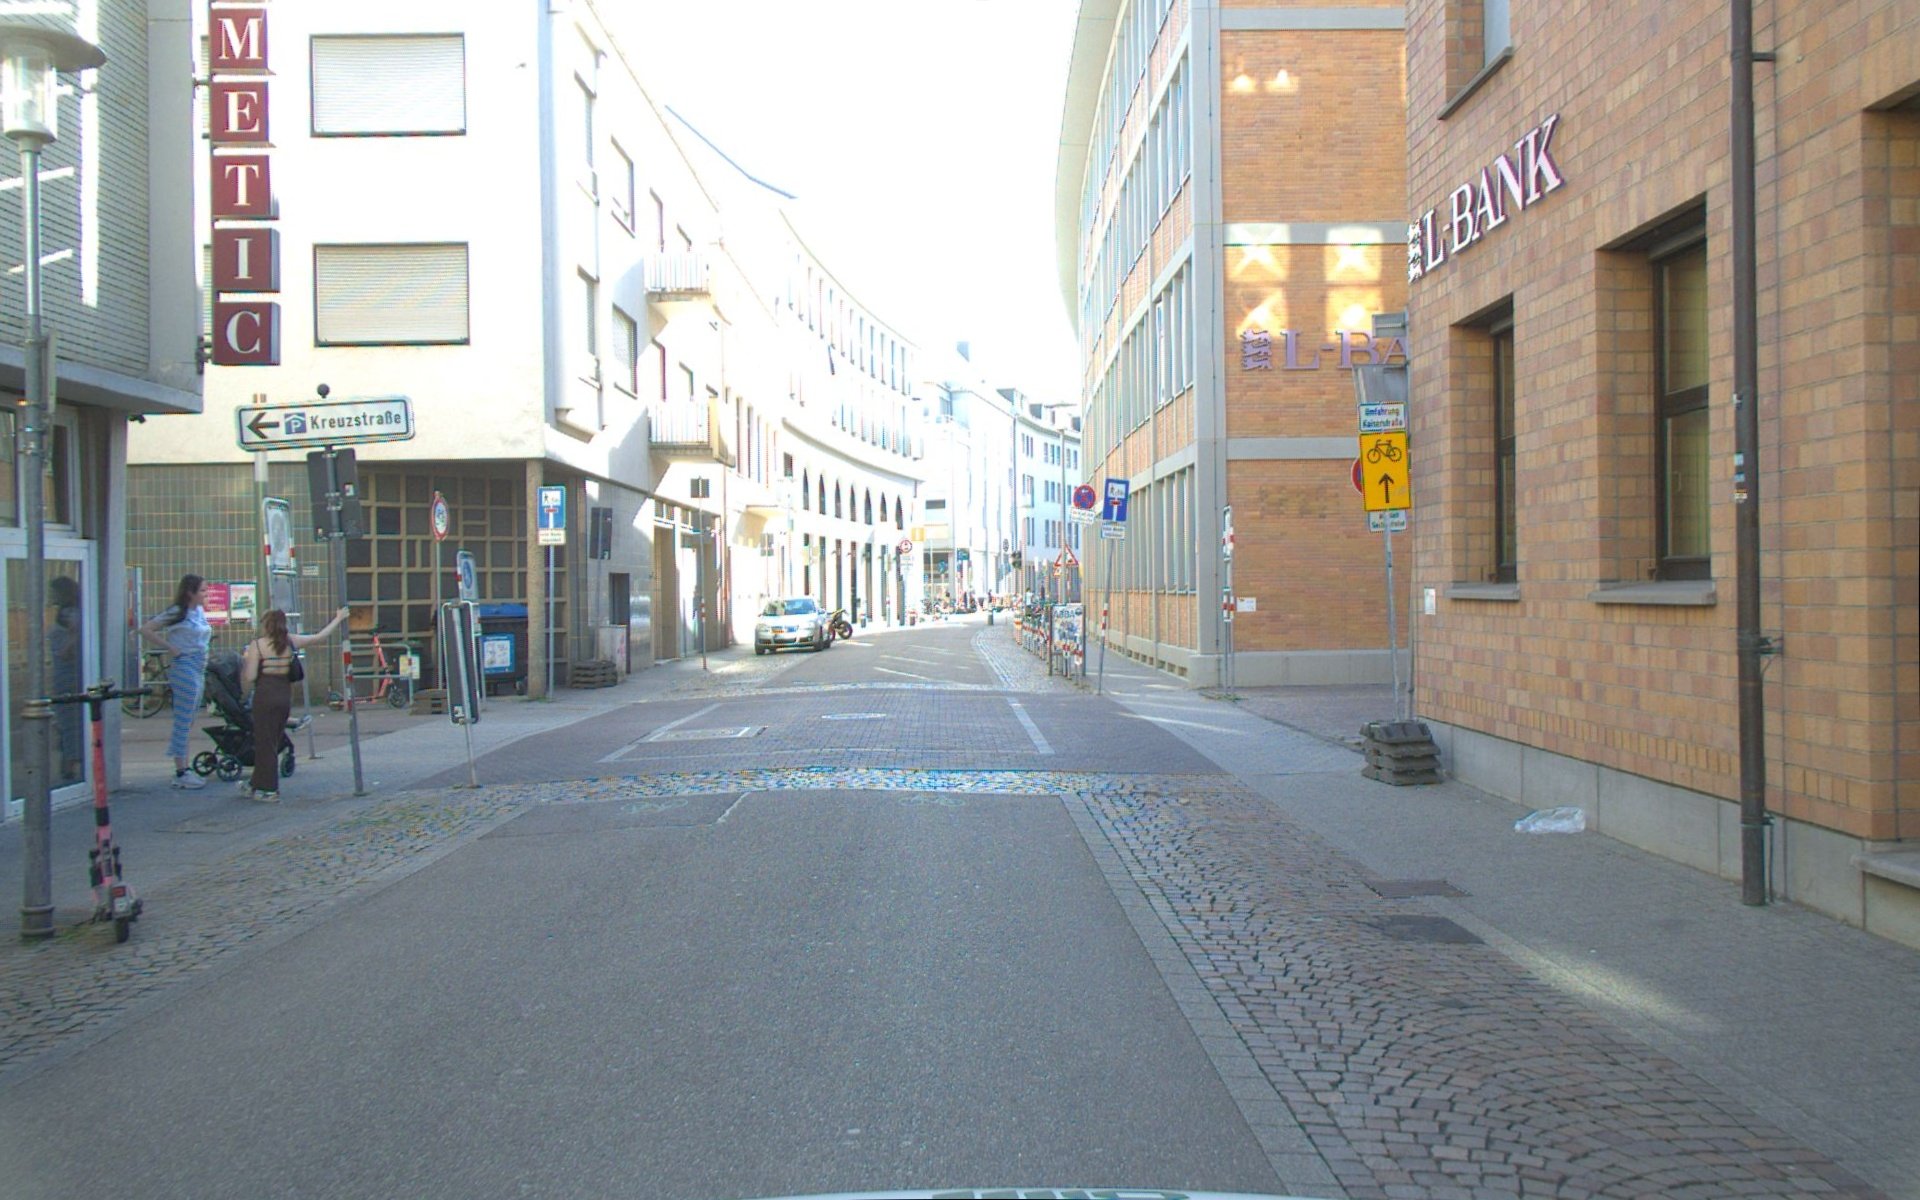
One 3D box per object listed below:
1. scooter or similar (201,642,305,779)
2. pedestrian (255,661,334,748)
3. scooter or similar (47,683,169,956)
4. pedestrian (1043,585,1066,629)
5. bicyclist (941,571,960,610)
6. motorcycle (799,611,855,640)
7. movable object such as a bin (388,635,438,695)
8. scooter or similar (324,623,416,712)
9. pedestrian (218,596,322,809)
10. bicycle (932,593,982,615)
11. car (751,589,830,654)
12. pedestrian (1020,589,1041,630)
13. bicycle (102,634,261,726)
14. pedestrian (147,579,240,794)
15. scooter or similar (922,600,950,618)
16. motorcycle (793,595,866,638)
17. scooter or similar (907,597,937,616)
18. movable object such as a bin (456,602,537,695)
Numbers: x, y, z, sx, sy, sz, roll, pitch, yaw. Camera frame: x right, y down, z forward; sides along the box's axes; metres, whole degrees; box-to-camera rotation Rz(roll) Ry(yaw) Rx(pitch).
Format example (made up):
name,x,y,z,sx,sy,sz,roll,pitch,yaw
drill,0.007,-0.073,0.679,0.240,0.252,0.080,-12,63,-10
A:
name,x,y,z,sx,sy,sz,roll,pitch,yaw
scooter or similar,-6.399,0.983,14.961,0.781,1.182,0.629,1,-1,-31
pedestrian,-6.083,0.942,15.111,0.576,0.727,0.640,-1,0,-31
scooter or similar,-4.285,1.051,8.292,0.408,1.218,1.110,-5,1,-29
pedestrian,4.110,0.319,71.852,0.652,1.901,0.753,1,-1,-31
bicyclist,-0.597,-0.599,104.248,1.067,2.431,0.742,1,-1,13
motorcycle,-4.108,0.780,51.101,1.655,0.874,0.595,1,-1,4
movable object such as a bin,-8.545,1.011,25.840,0.516,0.917,0.534,0,-1,42
scooter or similar,-8.563,0.972,24.020,1.134,1.228,0.480,-2,0,-1
pedestrian,-5.536,0.796,13.276,0.641,1.654,0.450,-1,0,-43
bicycle,-0.175,0.260,104.204,3.022,1.378,0.702,1,-1,12
car,-4.420,0.534,43.541,1.701,1.634,3.532,0,1,0
pedestrian,3.292,0.463,77.372,0.652,1.901,0.778,1,-1,-31
bicycle,-10.829,1.107,23.047,1.832,1.178,0.718,-2,0,1
pedestrian,-6.463,0.708,13.954,0.438,1.769,0.553,-1,0,22
scooter or similar,-1.317,0.484,90.163,0.515,0.944,2.224,0,1,29
motorcycle,-4.325,0.546,54.885,2.342,1.340,0.862,-2,0,-1
scooter or similar,-1.981,0.349,86.713,0.515,0.944,2.224,0,1,29
movable object such as a bin,-7.418,0.759,26.472,0.869,1.444,0.928,0,-1,42
